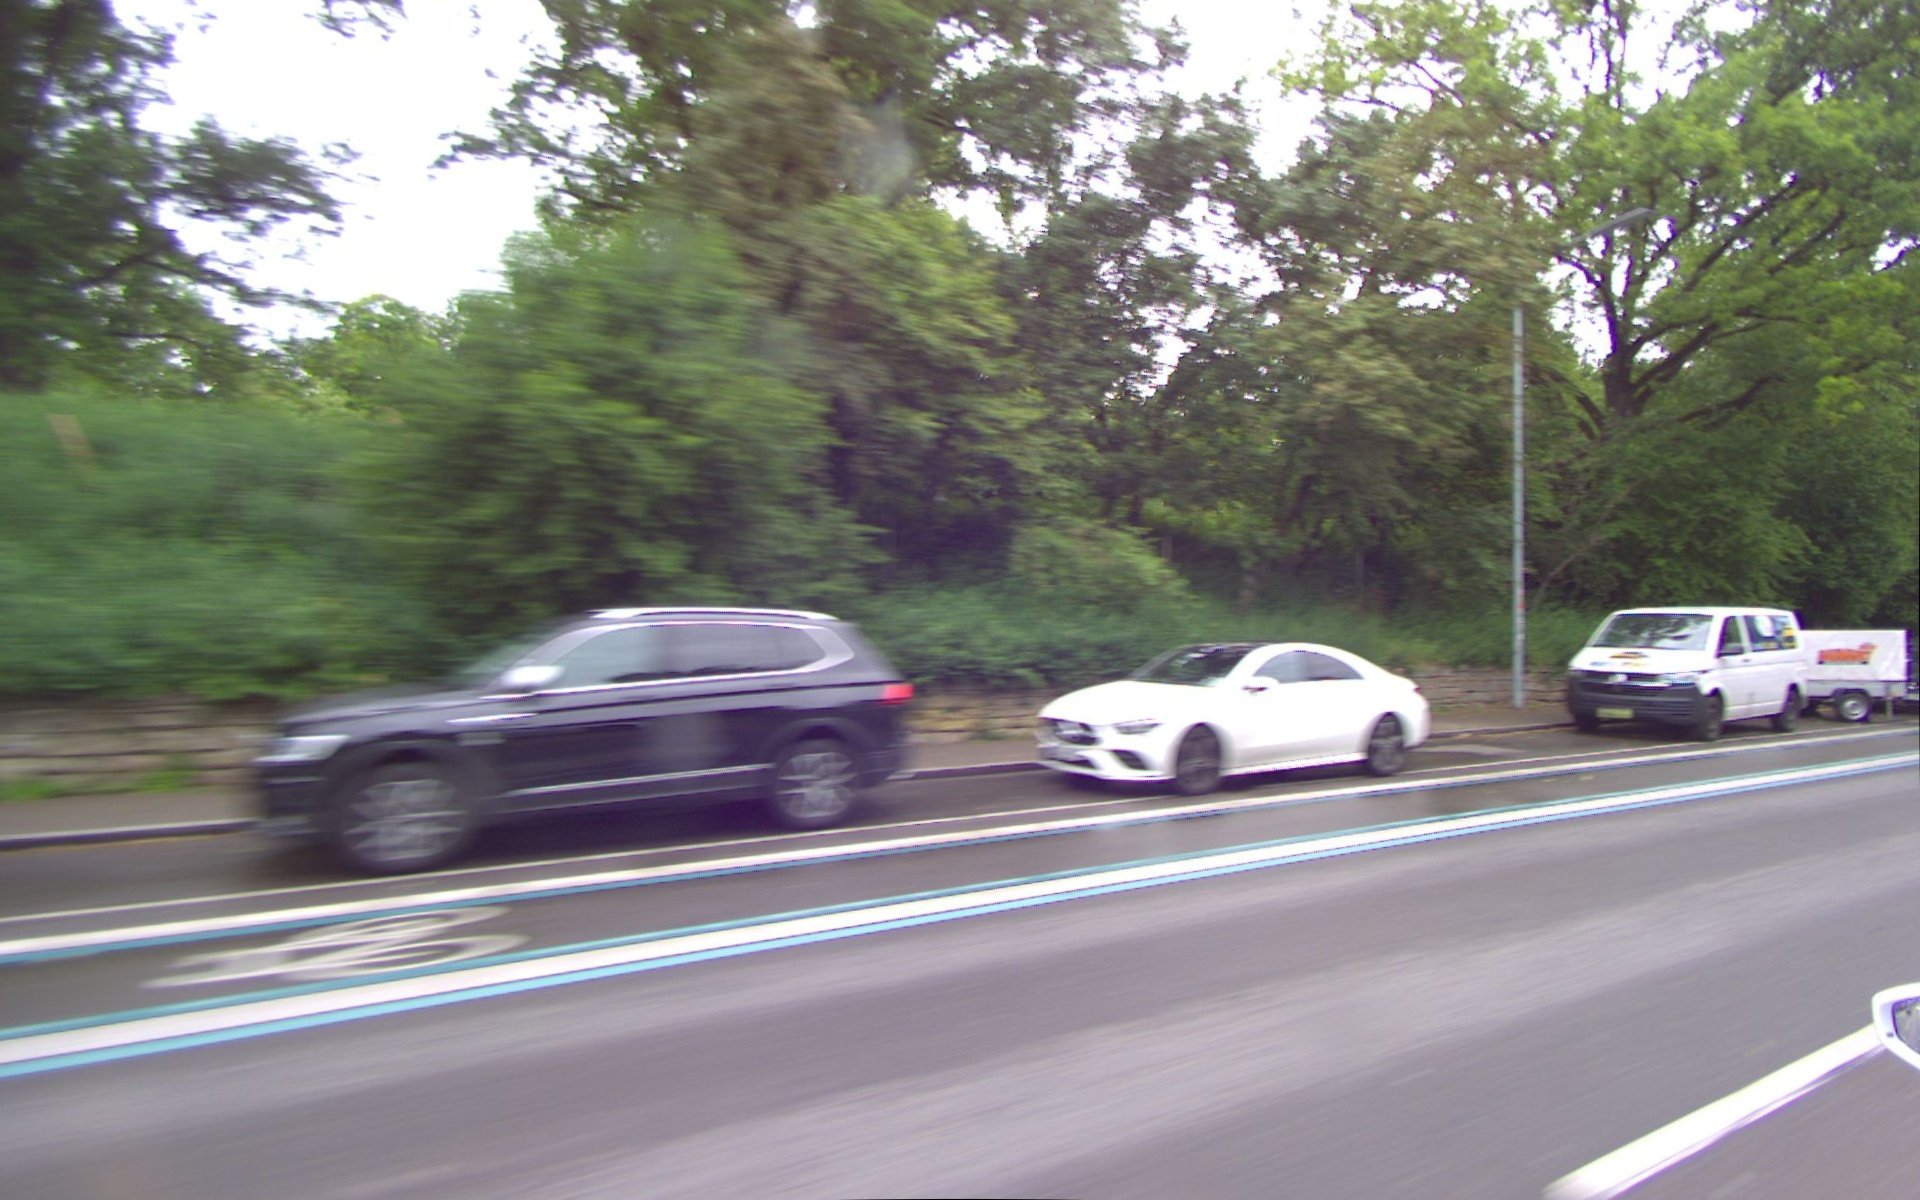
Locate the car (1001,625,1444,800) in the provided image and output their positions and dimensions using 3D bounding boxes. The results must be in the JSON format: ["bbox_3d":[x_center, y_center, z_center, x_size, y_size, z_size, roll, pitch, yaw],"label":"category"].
[{"bbox_3d":[2.895,1.063,10.708,4.698,1.518,1.798,2,-2,-30],"label":"car"}]

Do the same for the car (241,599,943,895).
[{"bbox_3d":[-2.545,0.880,7.666,4.620,1.682,1.727,1,-1,-31],"label":"car"}]

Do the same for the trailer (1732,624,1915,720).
[{"bbox_3d":[16.083,1.310,18.791,2.220,1.679,1.352,1,-1,8],"label":"trailer"}]

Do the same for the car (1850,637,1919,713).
[{"bbox_3d":[20.509,1.524,20.994,4.398,1.417,1.810,1,-1,-33],"label":"car"}]

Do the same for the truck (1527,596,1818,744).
[{"bbox_3d":[11.507,1.021,16.118,5.104,2.040,2.081,1,-1,-33],"label":"truck"}]
